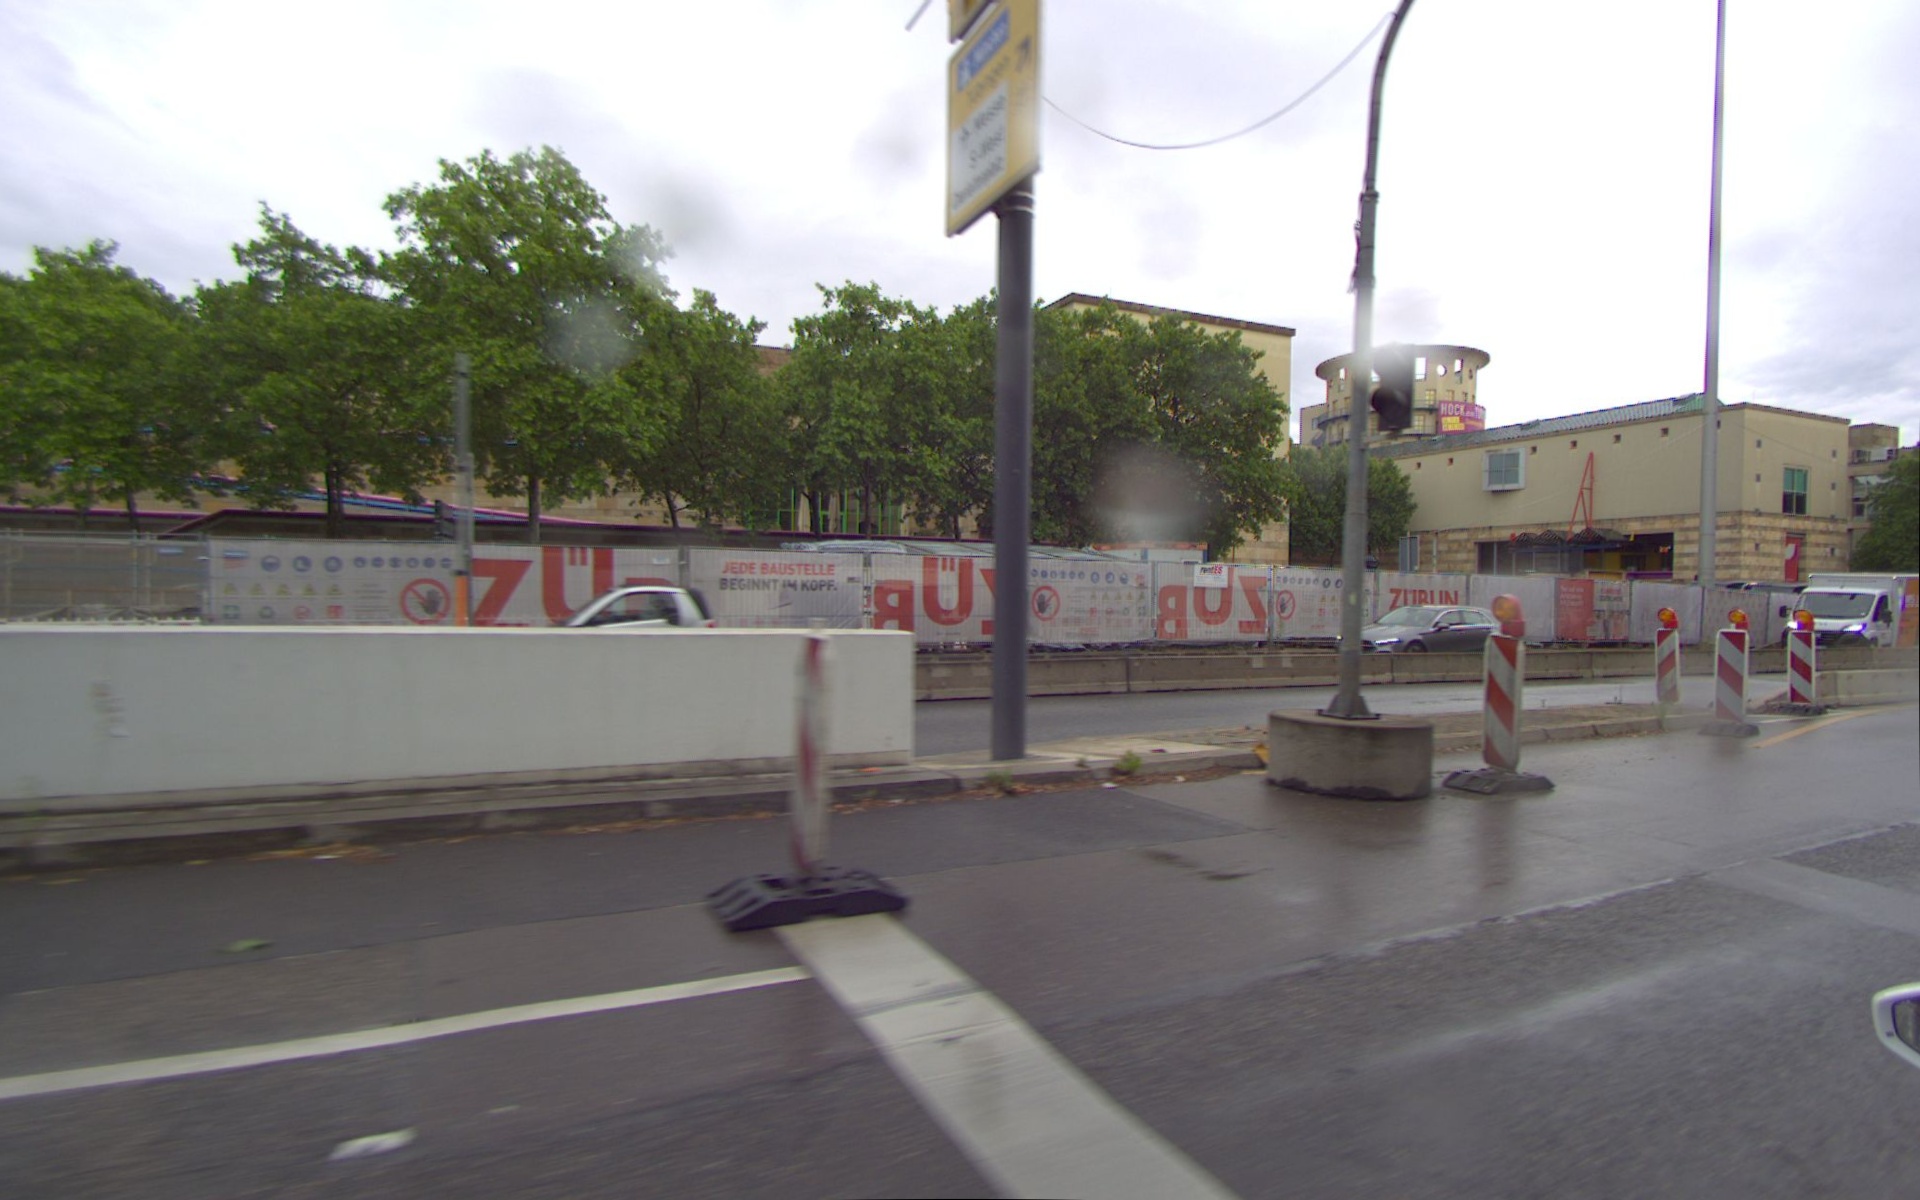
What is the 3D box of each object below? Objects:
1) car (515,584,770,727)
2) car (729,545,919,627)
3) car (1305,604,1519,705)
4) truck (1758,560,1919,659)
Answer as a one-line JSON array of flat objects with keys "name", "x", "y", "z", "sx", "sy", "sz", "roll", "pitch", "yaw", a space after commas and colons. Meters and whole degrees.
[{"name": "car", "x": -4.687, "y": 0.780, "z": 14.838, "sx": 3.316, "sy": 1.893, "sz": 1.693, "roll": 2, "pitch": -1, "yaw": -28}, {"name": "car", "x": -3.619, "y": -0.368, "z": 26.803, "sx": 4.654, "sy": 2.041, "sz": 1.987, "roll": 0, "pitch": 1, "yaw": -26}, {"name": "car", "x": 10.129, "y": 1.199, "z": 22.423, "sx": 4.700, "sy": 2.040, "sz": 1.900, "roll": 2, "pitch": -2, "yaw": -28}, {"name": "truck", "x": 27.531, "y": 0.288, "z": 30.795, "sx": 7.270, "sy": 2.755, "sz": 2.385, "roll": 1, "pitch": 1, "yaw": -31}]
